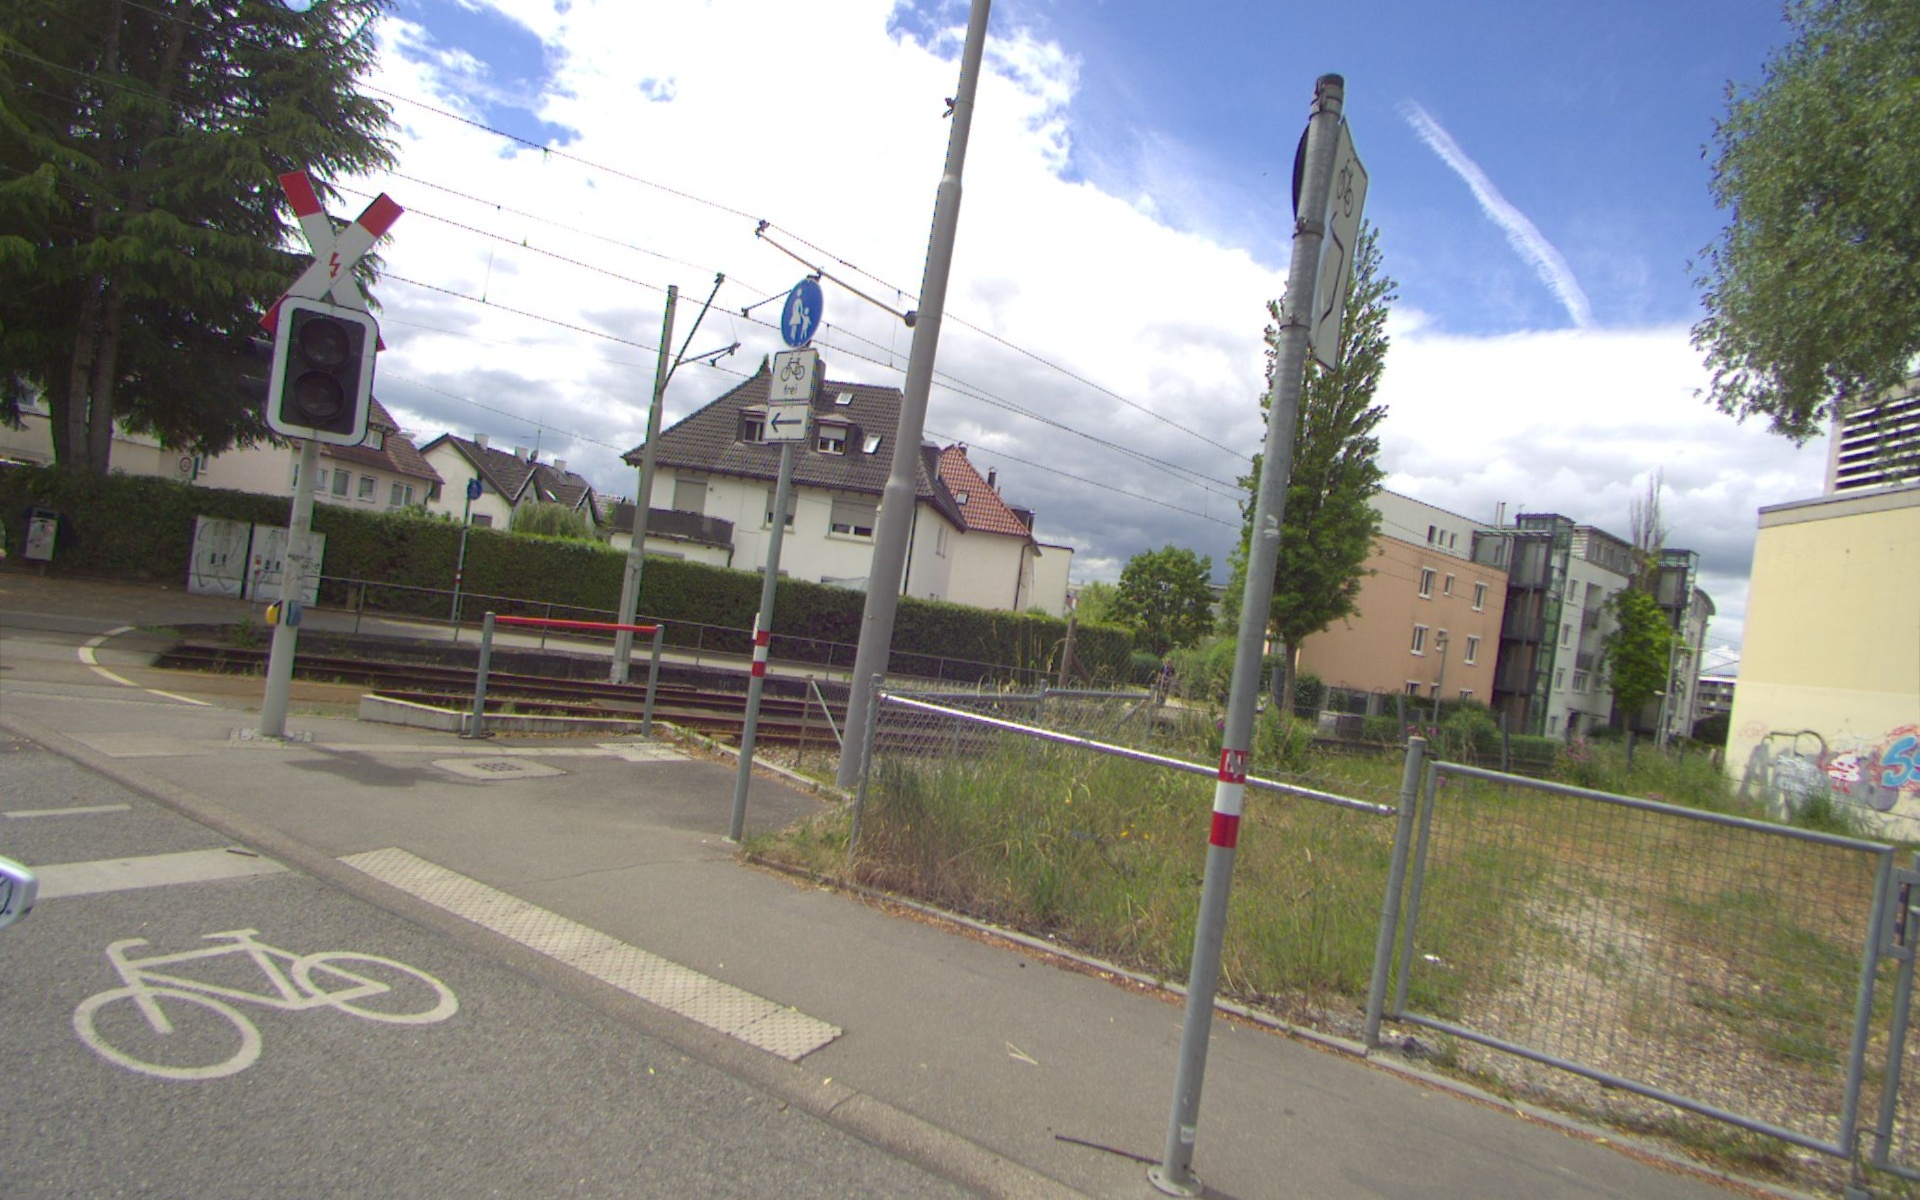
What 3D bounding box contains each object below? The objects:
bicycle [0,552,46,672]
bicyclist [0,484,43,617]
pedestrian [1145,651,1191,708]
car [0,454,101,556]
[{"bbox_3d":[-9.902,0.027,9.825,1.884,1.052,0.933,7,-1,34],"label":"bicycle"},{"bbox_3d":[-9.844,-0.565,9.849,1.084,1.262,0.933,7,-1,34],"label":"bicyclist"},{"bbox_3d":[6.889,2.640,33.375,0.910,1.707,0.925,7,0,-31],"label":"pedestrian"},{"bbox_3d":[-27.902,-2.919,27.857,1.962,2.611,6.021,8,-1,13],"label":"car"}]
